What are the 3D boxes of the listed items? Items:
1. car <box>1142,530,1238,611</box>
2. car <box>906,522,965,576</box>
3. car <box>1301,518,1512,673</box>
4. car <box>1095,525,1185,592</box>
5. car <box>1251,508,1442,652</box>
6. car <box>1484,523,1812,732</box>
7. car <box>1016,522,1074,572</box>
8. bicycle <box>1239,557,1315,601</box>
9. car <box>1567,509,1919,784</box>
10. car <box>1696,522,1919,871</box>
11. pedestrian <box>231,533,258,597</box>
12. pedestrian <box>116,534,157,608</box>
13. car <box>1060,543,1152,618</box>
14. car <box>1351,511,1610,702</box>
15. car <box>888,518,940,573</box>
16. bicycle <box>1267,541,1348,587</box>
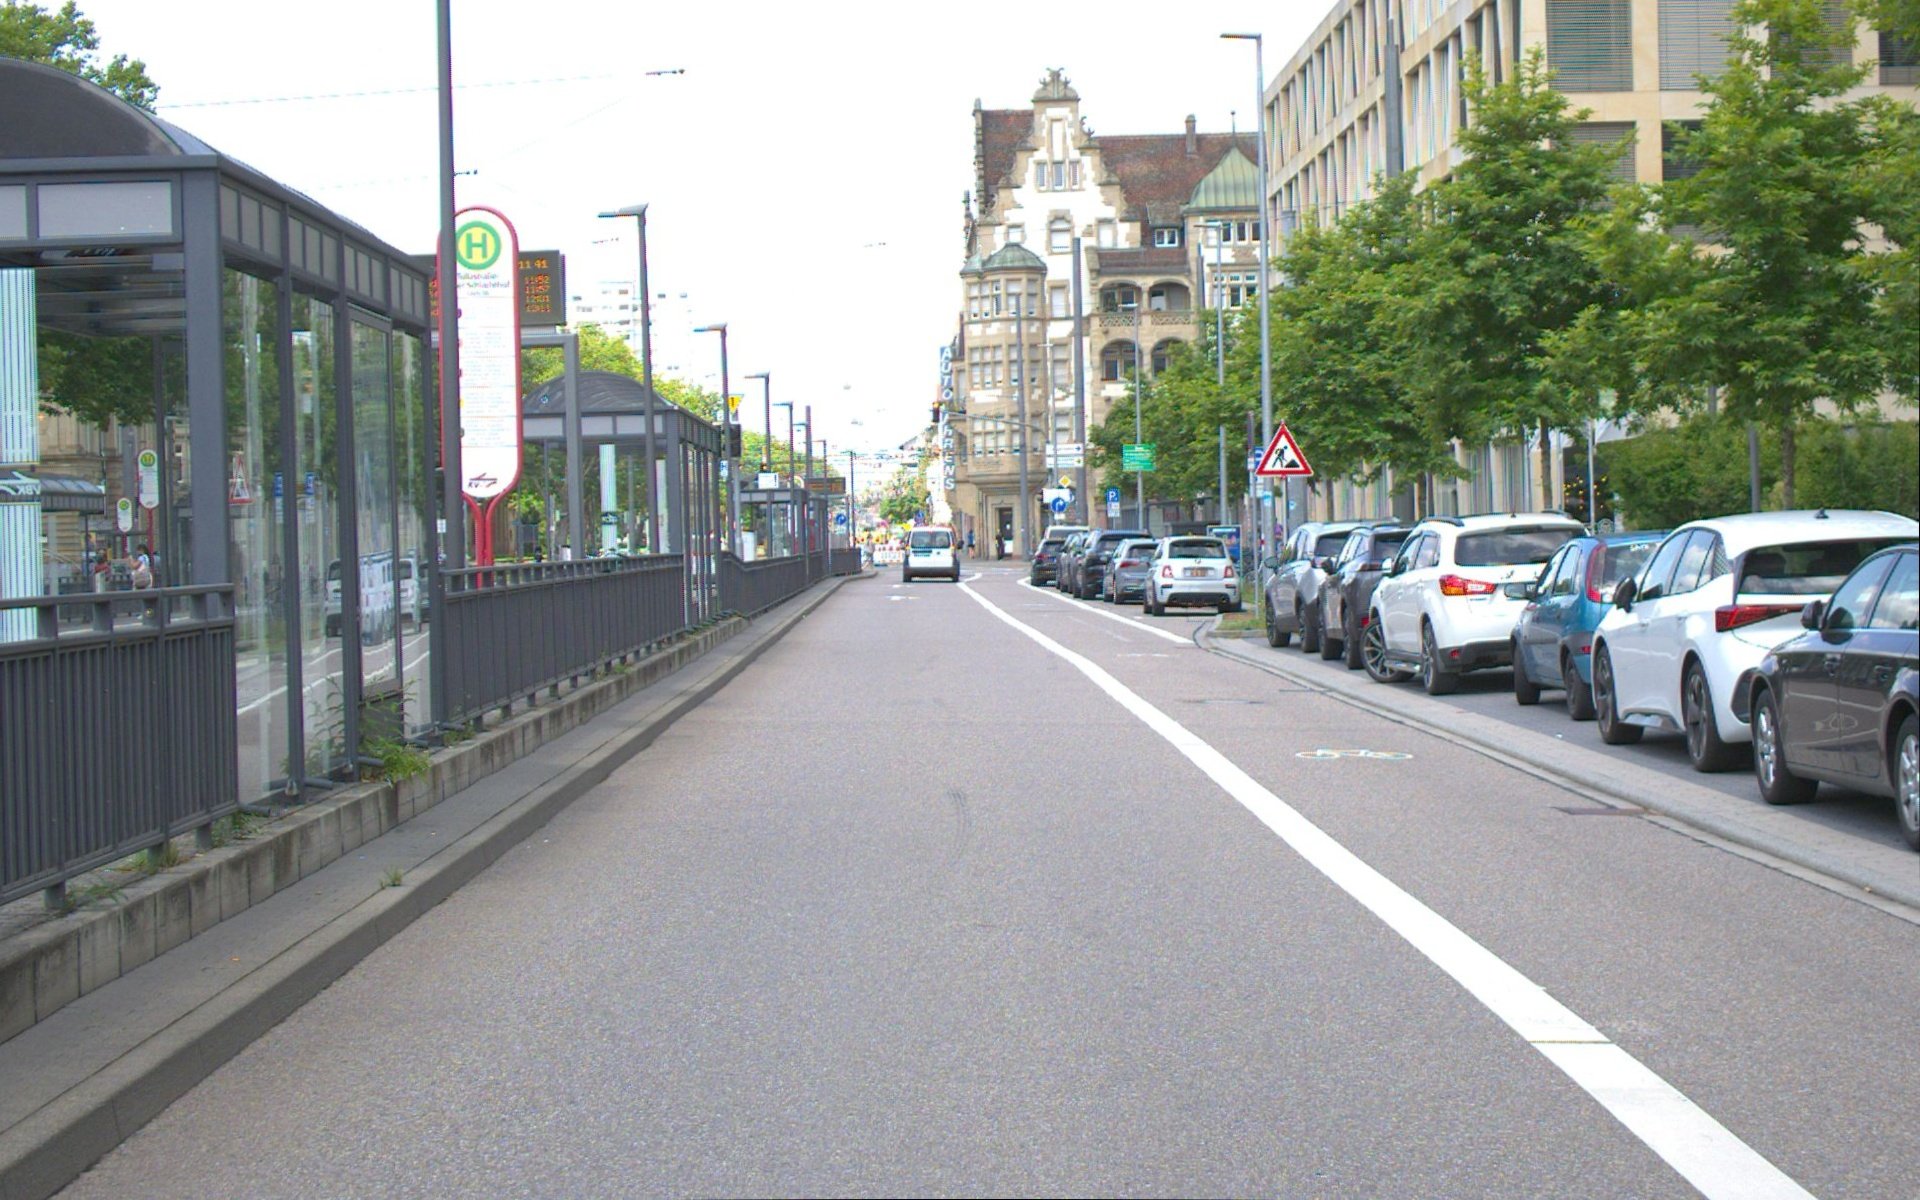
[{"bbox_3d":[4.318,-0.580,64.860,1.591,1.455,3.613,0,1,0],"label":"car"},{"bbox_3d":[-0.816,-1.682,113.215,1.868,1.740,4.000,0,1,-1],"label":"car"},{"bbox_3d":[4.867,-0.091,37.915,1.685,1.543,3.927,-3,1,-1],"label":"car"},{"bbox_3d":[3.962,-0.947,76.356,1.591,1.429,4.108,0,1,-3],"label":"car"},{"bbox_3d":[4.832,-0.282,43.454,1.685,1.628,3.991,-4,1,-3],"label":"car"},{"bbox_3d":[5.346,0.158,27.182,1.685,1.452,3.951,-3,1,-1],"label":"car"},{"bbox_3d":[2.521,-1.604,103.009,1.443,1.465,4.093,0,1,-3],"label":"car"},{"bbox_3d":[7.815,-0.530,84.881,1.824,1.027,0.584,-2,1,3],"label":"bicycle"},{"bbox_3d":[5.238,0.221,22.166,1.792,1.524,4.159,-3,1,-1],"label":"car"},{"bbox_3d":[5.101,0.372,16.883,1.881,1.482,4.564,-3,1,-1],"label":"car"},{"bbox_3d":[-17.608,-0.865,84.636,0.500,1.553,0.643,-2,1,-1],"label":"pedestrian"},{"bbox_3d":[-17.041,-0.606,71.143,0.701,1.507,0.803,-2,1,-9],"label":"pedestrian"},{"bbox_3d":[3.402,-0.478,80.931,1.738,1.663,4.841,0,1,-3],"label":"car"},{"bbox_3d":[4.835,0.014,32.432,1.685,1.600,4.152,-3,1,-1],"label":"car"},{"bbox_3d":[-1.716,-2.039,127.765,1.868,2.013,4.000,0,1,-1],"label":"car"},{"bbox_3d":[7.883,-0.811,78.028,1.752,0.983,0.326,-2,1,-1],"label":"bicycle"}]
